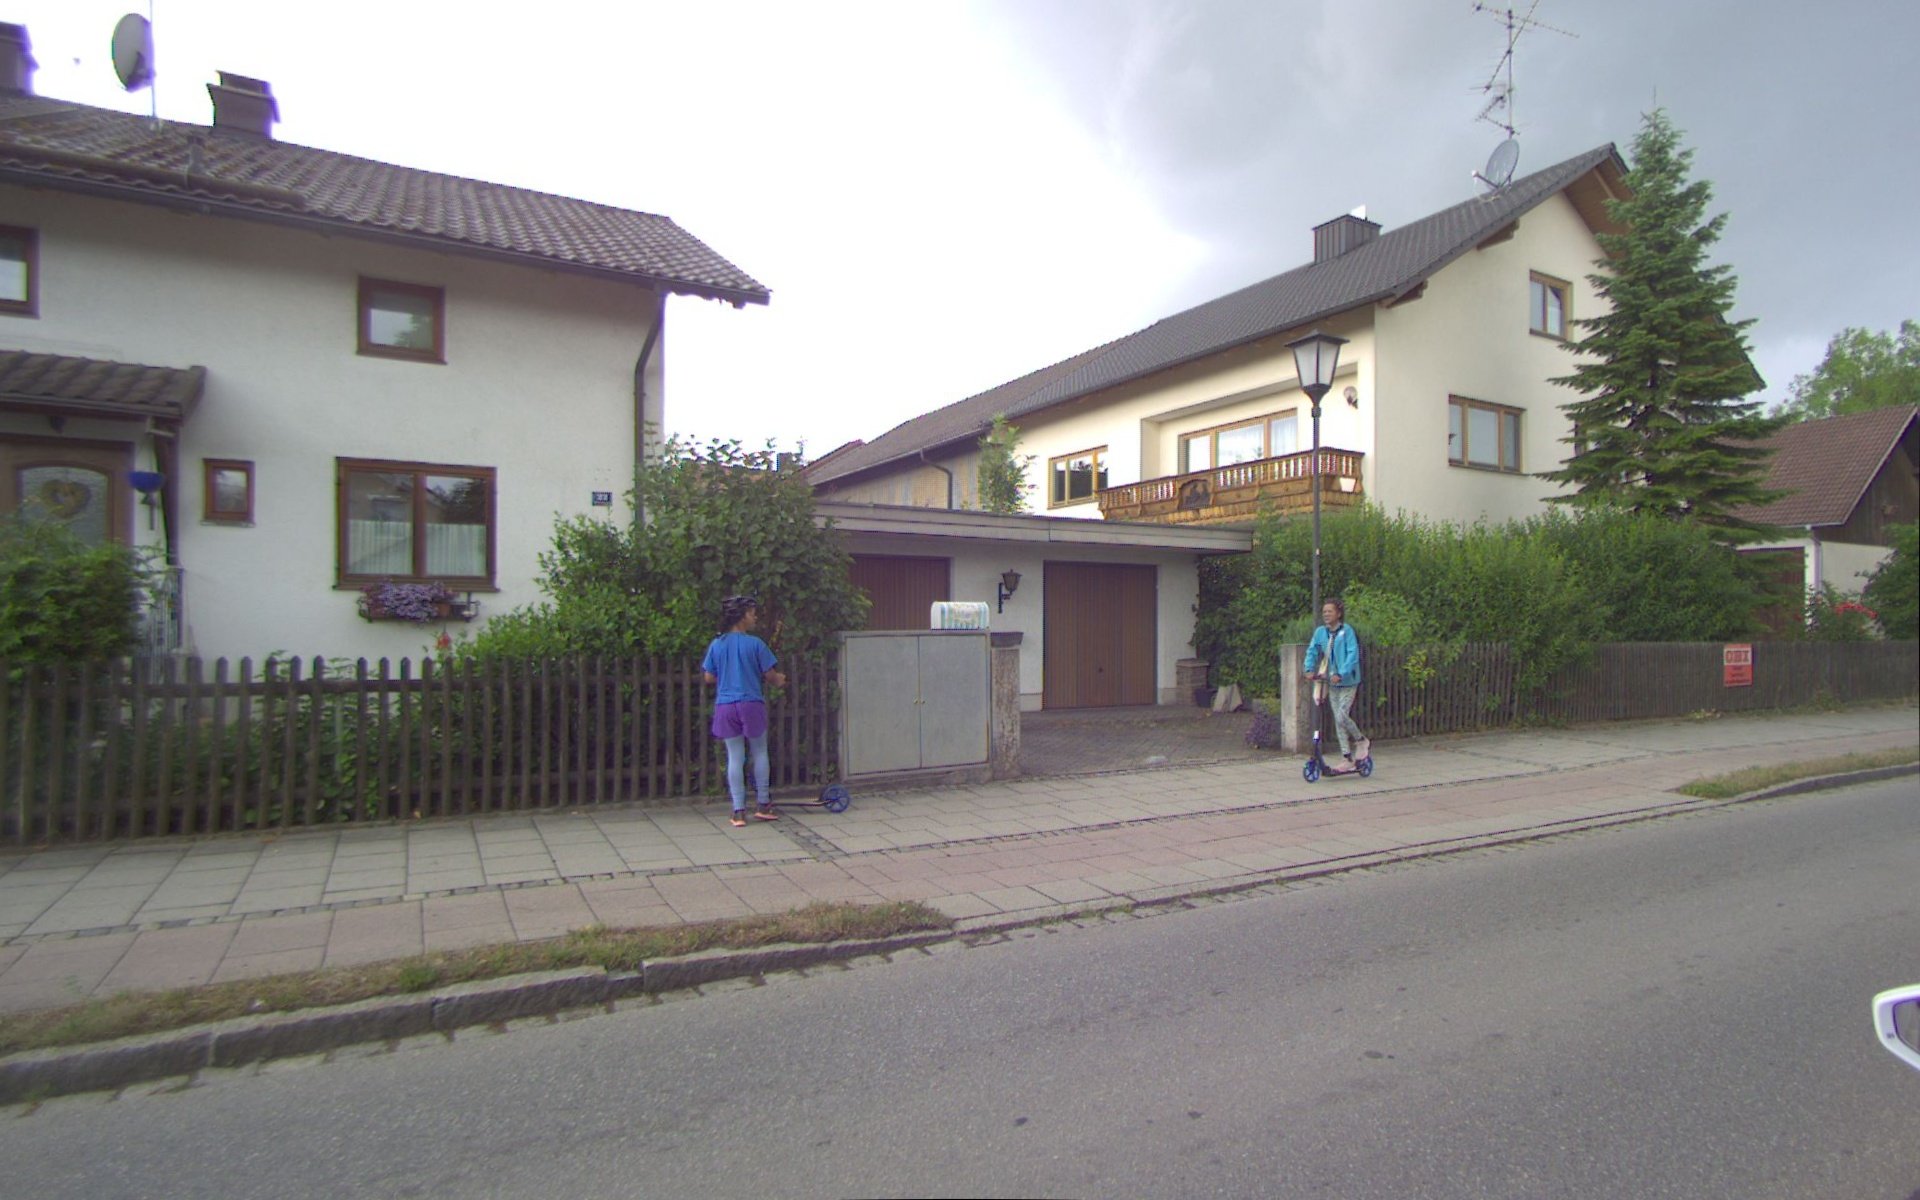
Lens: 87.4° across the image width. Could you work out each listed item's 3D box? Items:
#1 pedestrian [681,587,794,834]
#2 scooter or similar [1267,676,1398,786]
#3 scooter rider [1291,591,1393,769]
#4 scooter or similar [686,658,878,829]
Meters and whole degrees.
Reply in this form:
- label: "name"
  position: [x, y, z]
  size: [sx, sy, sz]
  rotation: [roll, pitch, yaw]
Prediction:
- label: "pedestrian"
  position: [-1.463, 0.694, 6.643]
  size: [0.479, 1.549, 0.534]
  rotation: [1, 0, 25]
- label: "scooter or similar"
  position: [3.281, 1.129, 8.842]
  size: [1.048, 0.861, 0.519]
  rotation: [1, 0, -29]
- label: "scooter rider"
  position: [3.385, 0.688, 8.908]
  size: [0.708, 1.509, 0.500]
  rotation: [1, 0, -30]
- label: "scooter or similar"
  position: [-1.235, 0.946, 6.963]
  size: [1.164, 1.051, 0.658]
  rotation: [1, -1, -29]
